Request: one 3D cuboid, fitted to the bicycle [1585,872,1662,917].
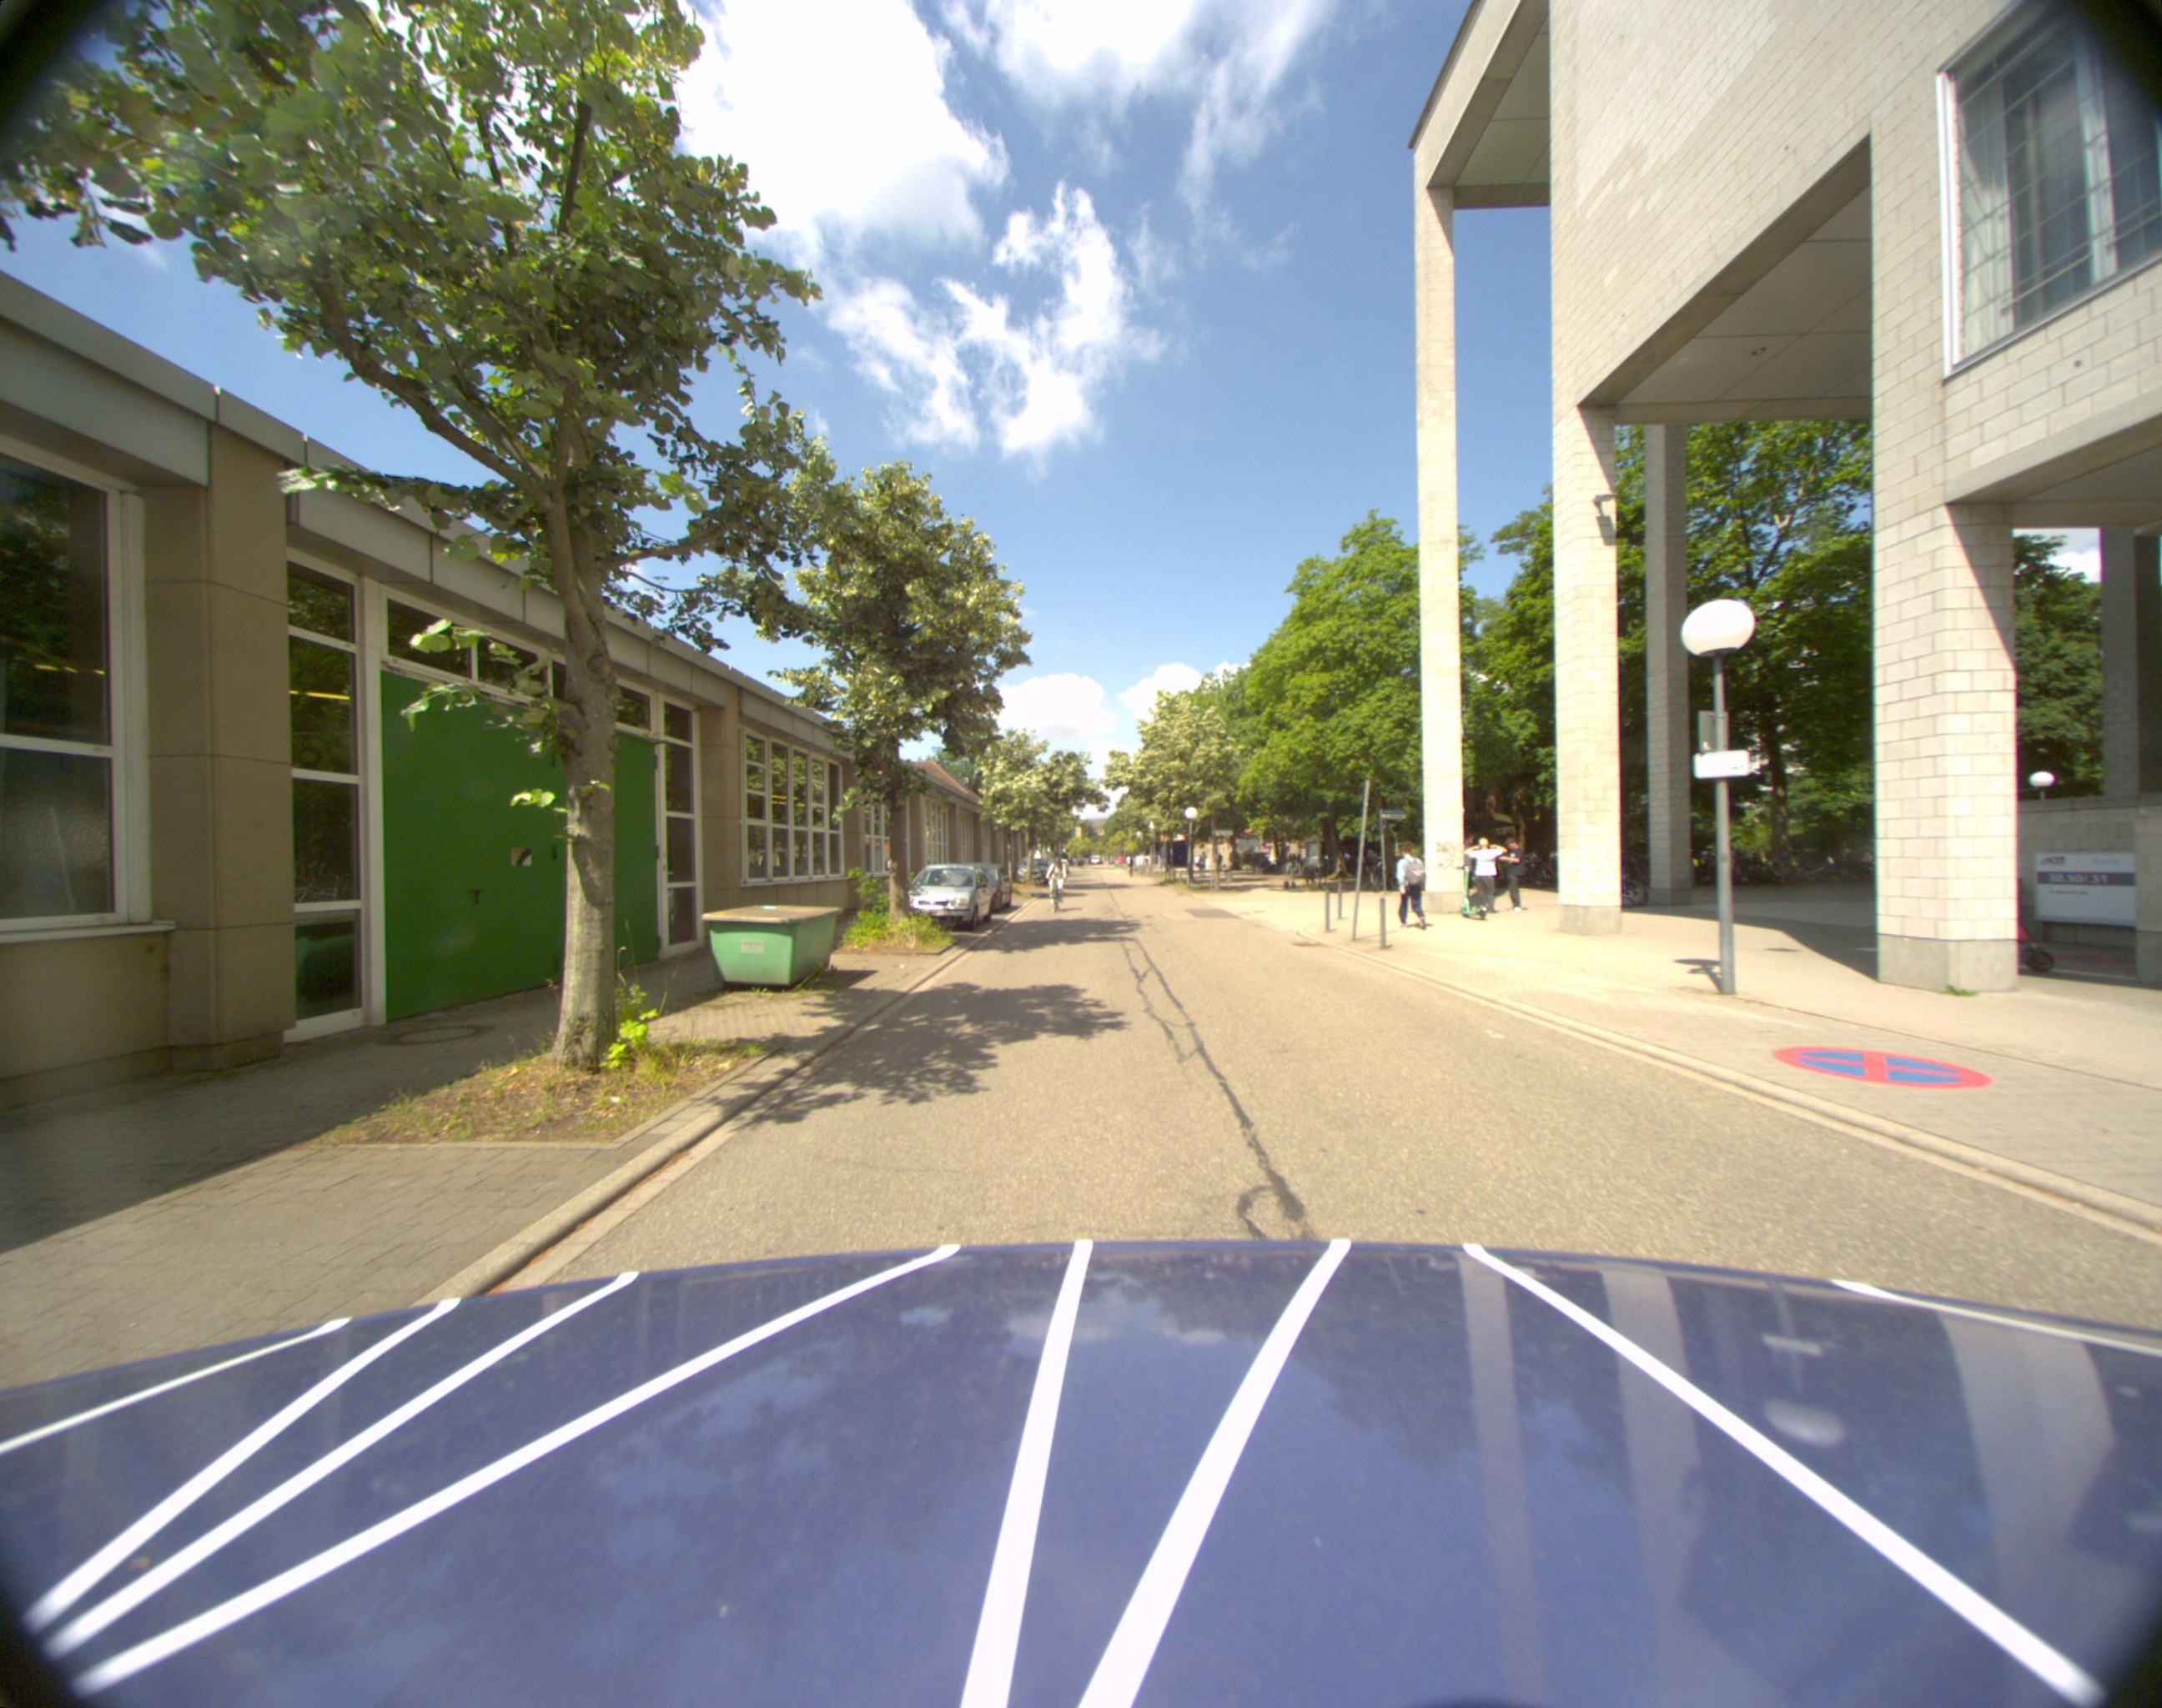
[{"bbox_3d":[13.208,0.965,18.563,0.596,0.980,1.965,-1,0,4],"label":"bicycle"}]

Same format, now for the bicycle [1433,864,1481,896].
[{"bbox_3d":[13.287,0.886,26.911,0.622,1.052,2.124,-1,0,0],"label":"bicycle"}]

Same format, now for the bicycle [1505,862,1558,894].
[{"bbox_3d":[15.935,0.839,26.931,0.622,1.052,2.124,-1,0,0],"label":"bicycle"}]

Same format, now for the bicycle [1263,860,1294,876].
[{"bbox_3d":[13.323,0.944,51.286,2.127,1.052,0.681,-1,1,-29],"label":"bicycle"}]

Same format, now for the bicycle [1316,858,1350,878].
[{"bbox_3d":[15.515,0.853,46.756,2.127,1.100,0.751,-1,1,-29],"label":"bicycle"}]

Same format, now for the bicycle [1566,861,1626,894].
[{"bbox_3d":[17.990,0.792,26.600,0.622,1.052,2.175,-1,0,0],"label":"bicycle"}]

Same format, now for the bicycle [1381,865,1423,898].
[{"bbox_3d":[11.335,0.947,26.910,0.592,1.052,2.124,-1,0,0],"label":"bicycle"}]

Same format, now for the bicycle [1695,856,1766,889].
[{"bbox_3d":[22.675,0.624,26.575,0.622,1.052,2.175,-1,0,0],"label":"bicycle"}]

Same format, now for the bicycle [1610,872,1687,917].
[{"bbox_3d":[13.794,0.951,18.537,0.517,0.980,1.965,-1,0,4],"label":"bicycle"}]

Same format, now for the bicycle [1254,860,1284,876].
[{"bbox_3d":[12.824,0.955,51.805,2.127,1.052,0.621,-1,1,-29],"label":"bicycle"}]

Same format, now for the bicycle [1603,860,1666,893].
[{"bbox_3d":[19.323,0.761,26.578,0.622,1.052,2.175,-1,0,0],"label":"bicycle"}]

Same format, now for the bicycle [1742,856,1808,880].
[{"bbox_3d":[31.460,0.629,34.481,0.623,1.052,2.171,-2,0,-18],"label":"bicycle"}]

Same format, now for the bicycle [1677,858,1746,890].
[{"bbox_3d":[22.004,0.683,26.574,0.622,1.052,2.175,-1,0,0],"label":"bicycle"}]

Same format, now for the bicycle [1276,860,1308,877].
[{"bbox_3d":[13.866,0.935,49.812,2.127,1.052,0.681,-1,1,-29],"label":"bicycle"}]

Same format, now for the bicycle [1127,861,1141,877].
[{"bbox_3d":[4.328,1.210,62.295,1.011,1.169,3.394,-1,0,2],"label":"bicycle"}]

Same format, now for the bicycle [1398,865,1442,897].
[{"bbox_3d":[11.970,0.932,26.911,0.622,1.052,2.124,-1,0,0],"label":"bicycle"}]

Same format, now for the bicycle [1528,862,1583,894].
[{"bbox_3d":[16.607,0.824,26.659,0.622,1.052,2.124,-1,0,0],"label":"bicycle"}]

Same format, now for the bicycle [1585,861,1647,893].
[{"bbox_3d":[18.657,0.776,26.566,0.622,1.052,2.175,-1,0,0],"label":"bicycle"}]

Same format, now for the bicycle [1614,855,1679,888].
[{"bbox_3d":[21.622,0.643,29.103,0.622,1.185,2.173,-1,0,-8],"label":"bicycle"}]

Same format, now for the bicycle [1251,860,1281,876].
[{"bbox_3d":[12.803,0.953,52.466,2.127,1.052,0.621,-1,1,-29],"label":"bicycle"}]

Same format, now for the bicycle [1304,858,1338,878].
[{"bbox_3d":[15.073,0.870,47.611,2.127,1.151,0.751,-1,1,-29],"label":"bicycle"}]

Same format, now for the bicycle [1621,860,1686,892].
[{"bbox_3d":[19.978,0.746,26.577,0.622,1.052,2.175,-1,0,0],"label":"bicycle"}]

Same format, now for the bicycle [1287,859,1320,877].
[{"bbox_3d":[14.337,0.902,48.928,2.127,1.100,0.681,-1,1,-29],"label":"bicycle"}]

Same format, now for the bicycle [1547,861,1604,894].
[{"bbox_3d":[17.313,0.808,26.679,0.622,1.052,2.124,-1,0,0],"label":"bicycle"}]

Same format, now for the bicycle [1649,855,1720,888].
[{"bbox_3d":[24.714,0.701,31.168,0.623,1.325,2.169,-2,1,-34],"label":"bicycle"}]

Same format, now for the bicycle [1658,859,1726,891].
[{"bbox_3d":[21.321,0.706,26.580,0.622,1.052,2.175,-1,0,0],"label":"bicycle"}]

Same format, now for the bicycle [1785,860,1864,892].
[{"bbox_3d":[26.032,0.758,26.657,0.622,1.052,2.175,-1,0,0],"label":"bicycle"}]

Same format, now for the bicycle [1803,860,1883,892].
[{"bbox_3d":[26.696,0.754,26.671,0.622,1.052,2.175,-1,0,0],"label":"bicycle"}]

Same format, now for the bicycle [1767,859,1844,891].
[{"bbox_3d":[25.344,0.720,26.651,0.622,1.052,2.175,-1,0,0],"label":"bicycle"}]

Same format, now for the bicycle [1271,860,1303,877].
[{"bbox_3d":[13.715,0.937,50.600,2.127,1.052,0.681,-1,1,-29],"label":"bicycle"}]

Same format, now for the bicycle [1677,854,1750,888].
[{"bbox_3d":[25.800,0.676,31.032,0.623,1.325,2.169,-2,1,-34],"label":"bicycle"}]

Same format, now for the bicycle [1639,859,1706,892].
[{"bbox_3d":[20.645,0.730,26.576,0.622,1.052,2.175,-1,0,0],"label":"bicycle"}]

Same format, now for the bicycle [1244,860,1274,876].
[{"bbox_3d":[12.449,0.960,53.169,2.127,1.052,0.621,-1,1,-29],"label":"bicycle"}]

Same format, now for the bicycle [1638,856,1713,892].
[{"bbox_3d":[22.781,0.751,29.168,0.623,1.325,2.169,-2,1,-34],"label":"bicycle"}]

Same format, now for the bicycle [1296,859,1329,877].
[{"bbox_3d":[14.711,0.895,48.278,2.127,1.100,0.681,-1,1,-29],"label":"bicycle"}]

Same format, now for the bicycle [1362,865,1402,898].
[{"bbox_3d":[10.621,0.953,26.907,0.508,1.100,2.001,-1,0,-4],"label":"bicycle"}]

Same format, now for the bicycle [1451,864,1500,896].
[{"bbox_3d":[13.946,0.886,26.908,0.622,1.052,2.124,-1,0,0],"label":"bicycle"}]
